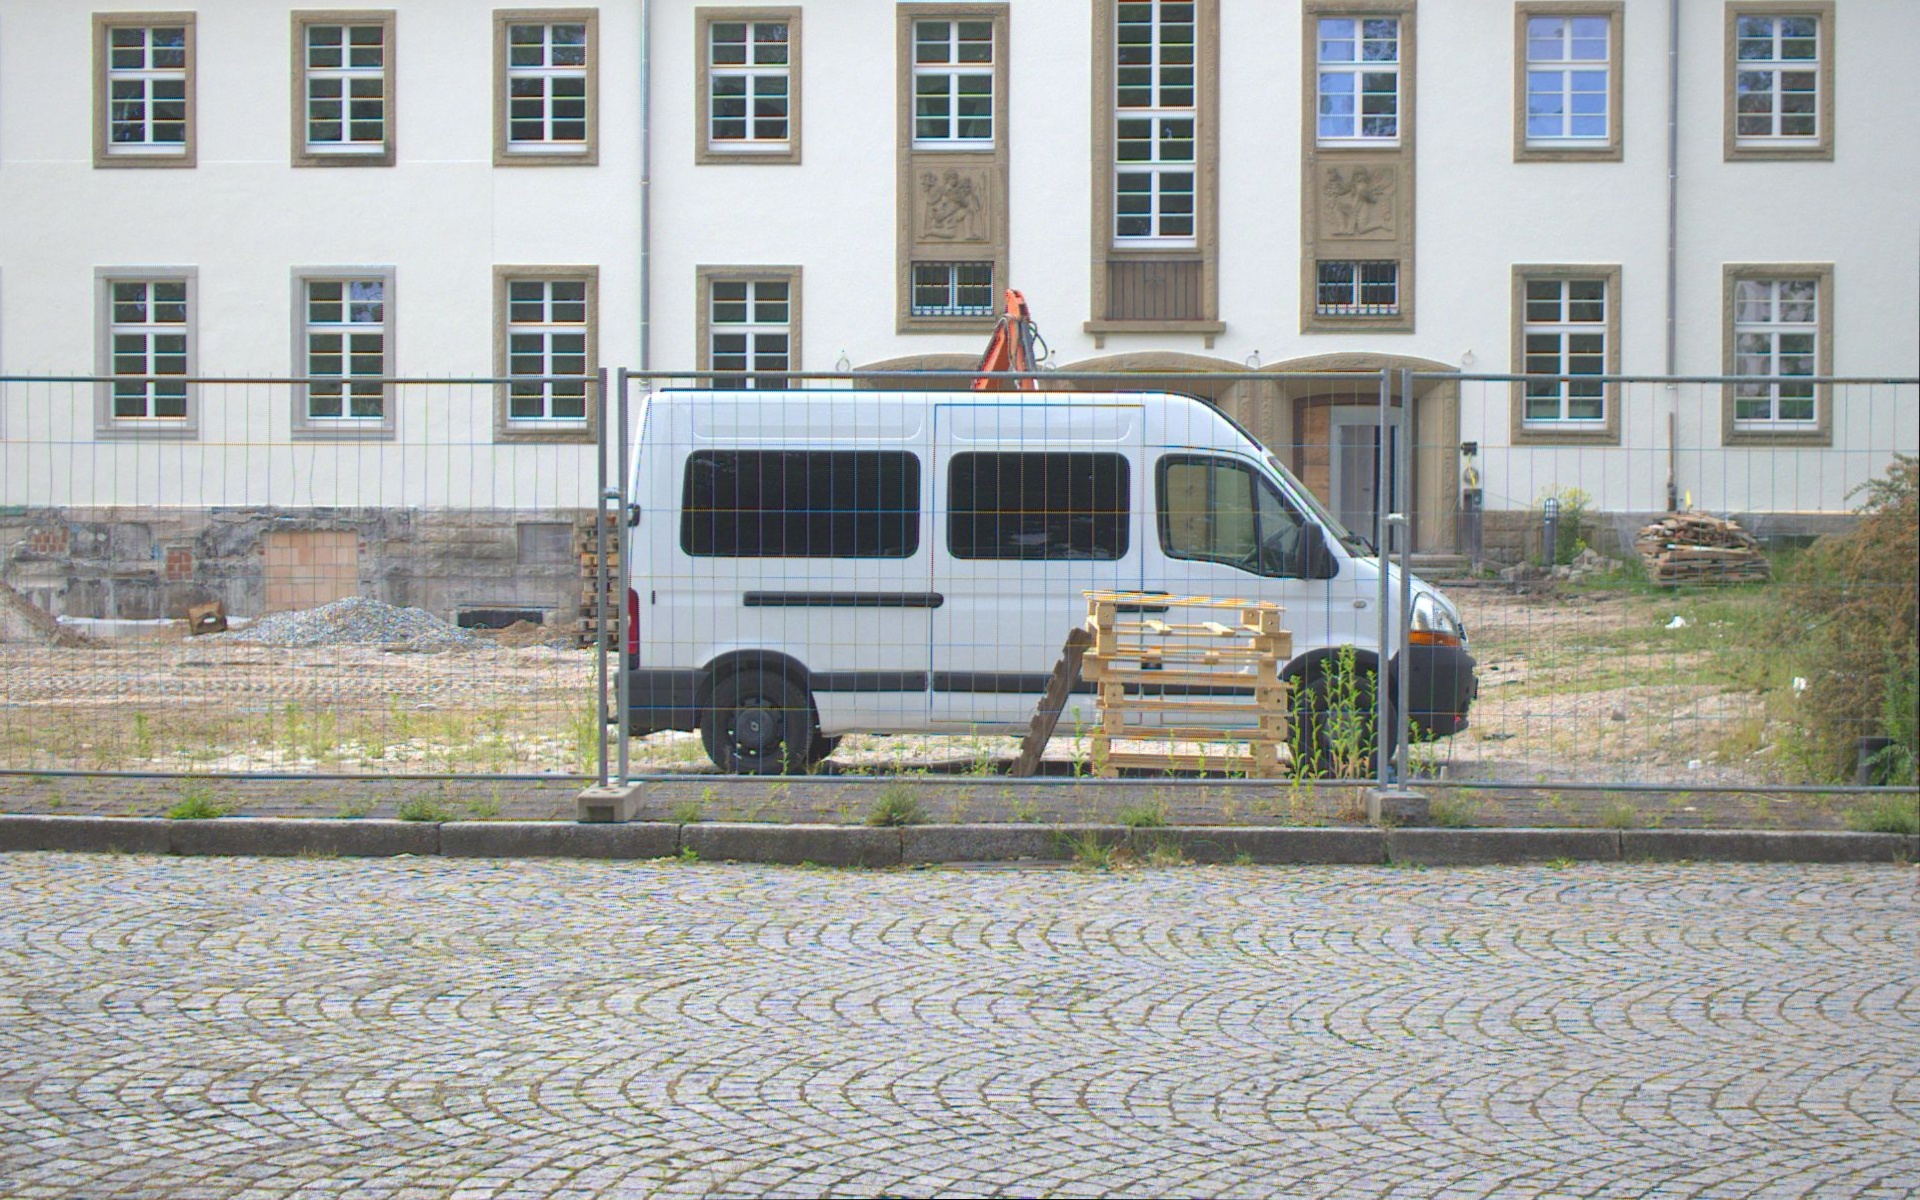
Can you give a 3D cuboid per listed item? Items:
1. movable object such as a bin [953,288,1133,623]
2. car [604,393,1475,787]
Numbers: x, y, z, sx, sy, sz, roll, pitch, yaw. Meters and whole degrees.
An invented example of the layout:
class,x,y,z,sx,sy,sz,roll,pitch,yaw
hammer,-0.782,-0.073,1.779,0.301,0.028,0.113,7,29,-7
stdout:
class,x,y,z,sx,sy,sz,roll,pitch,yaw
movable object such as a bin,0.936,-1.701,41.386,1.993,3.758,5.318,0,2,0
car,0.532,-0.102,21.730,5.264,2.336,1.910,1,2,5
